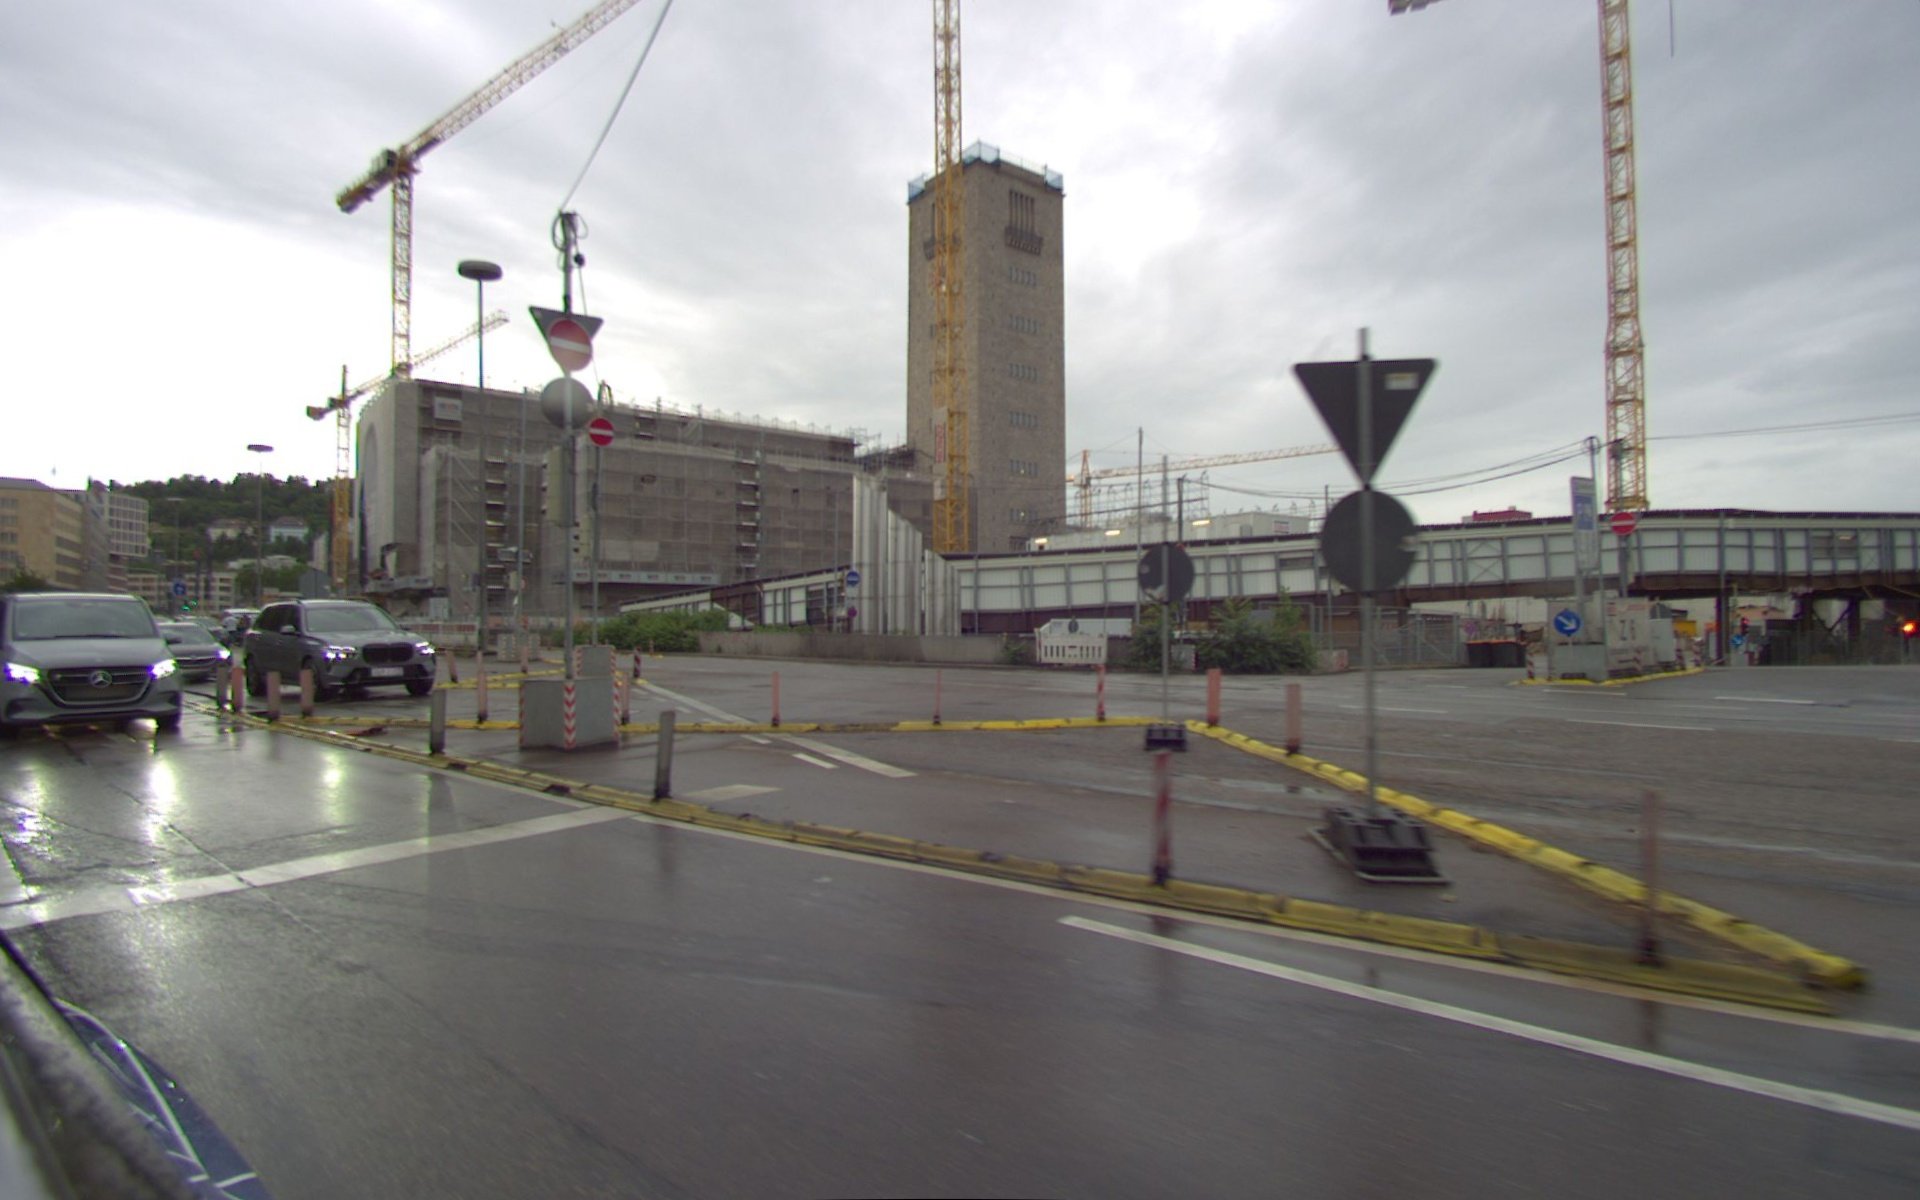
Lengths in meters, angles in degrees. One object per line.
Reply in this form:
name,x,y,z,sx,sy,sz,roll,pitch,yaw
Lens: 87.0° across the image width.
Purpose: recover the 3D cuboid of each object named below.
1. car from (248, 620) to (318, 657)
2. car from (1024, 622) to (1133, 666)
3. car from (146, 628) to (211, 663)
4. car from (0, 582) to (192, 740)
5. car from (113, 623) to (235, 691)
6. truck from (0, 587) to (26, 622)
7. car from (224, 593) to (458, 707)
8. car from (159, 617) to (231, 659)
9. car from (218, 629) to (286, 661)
car,-32.079,1.811,47.911,4.575,1.665,1.807,-2,-3,44
car,5.524,2.053,47.373,4.967,2.029,1.995,0,-3,8
car,-38.713,2.265,50.087,1.970,1.667,4.904,3,-4,-44
car,-12.755,0.816,14.402,5.356,1.870,1.972,-3,-2,42
car,-19.792,1.405,25.390,1.787,1.475,4.923,8,-7,-43
truck,-102.169,0.533,108.180,3.001,3.441,8.959,3,-3,-44
car,-11.734,0.875,19.060,5.067,1.877,2.188,-1,-1,39
car,-34.903,1.741,46.127,4.295,1.828,1.971,-2,-3,45
car,-36.715,2.310,52.450,4.001,1.585,2.142,-2,-3,44
